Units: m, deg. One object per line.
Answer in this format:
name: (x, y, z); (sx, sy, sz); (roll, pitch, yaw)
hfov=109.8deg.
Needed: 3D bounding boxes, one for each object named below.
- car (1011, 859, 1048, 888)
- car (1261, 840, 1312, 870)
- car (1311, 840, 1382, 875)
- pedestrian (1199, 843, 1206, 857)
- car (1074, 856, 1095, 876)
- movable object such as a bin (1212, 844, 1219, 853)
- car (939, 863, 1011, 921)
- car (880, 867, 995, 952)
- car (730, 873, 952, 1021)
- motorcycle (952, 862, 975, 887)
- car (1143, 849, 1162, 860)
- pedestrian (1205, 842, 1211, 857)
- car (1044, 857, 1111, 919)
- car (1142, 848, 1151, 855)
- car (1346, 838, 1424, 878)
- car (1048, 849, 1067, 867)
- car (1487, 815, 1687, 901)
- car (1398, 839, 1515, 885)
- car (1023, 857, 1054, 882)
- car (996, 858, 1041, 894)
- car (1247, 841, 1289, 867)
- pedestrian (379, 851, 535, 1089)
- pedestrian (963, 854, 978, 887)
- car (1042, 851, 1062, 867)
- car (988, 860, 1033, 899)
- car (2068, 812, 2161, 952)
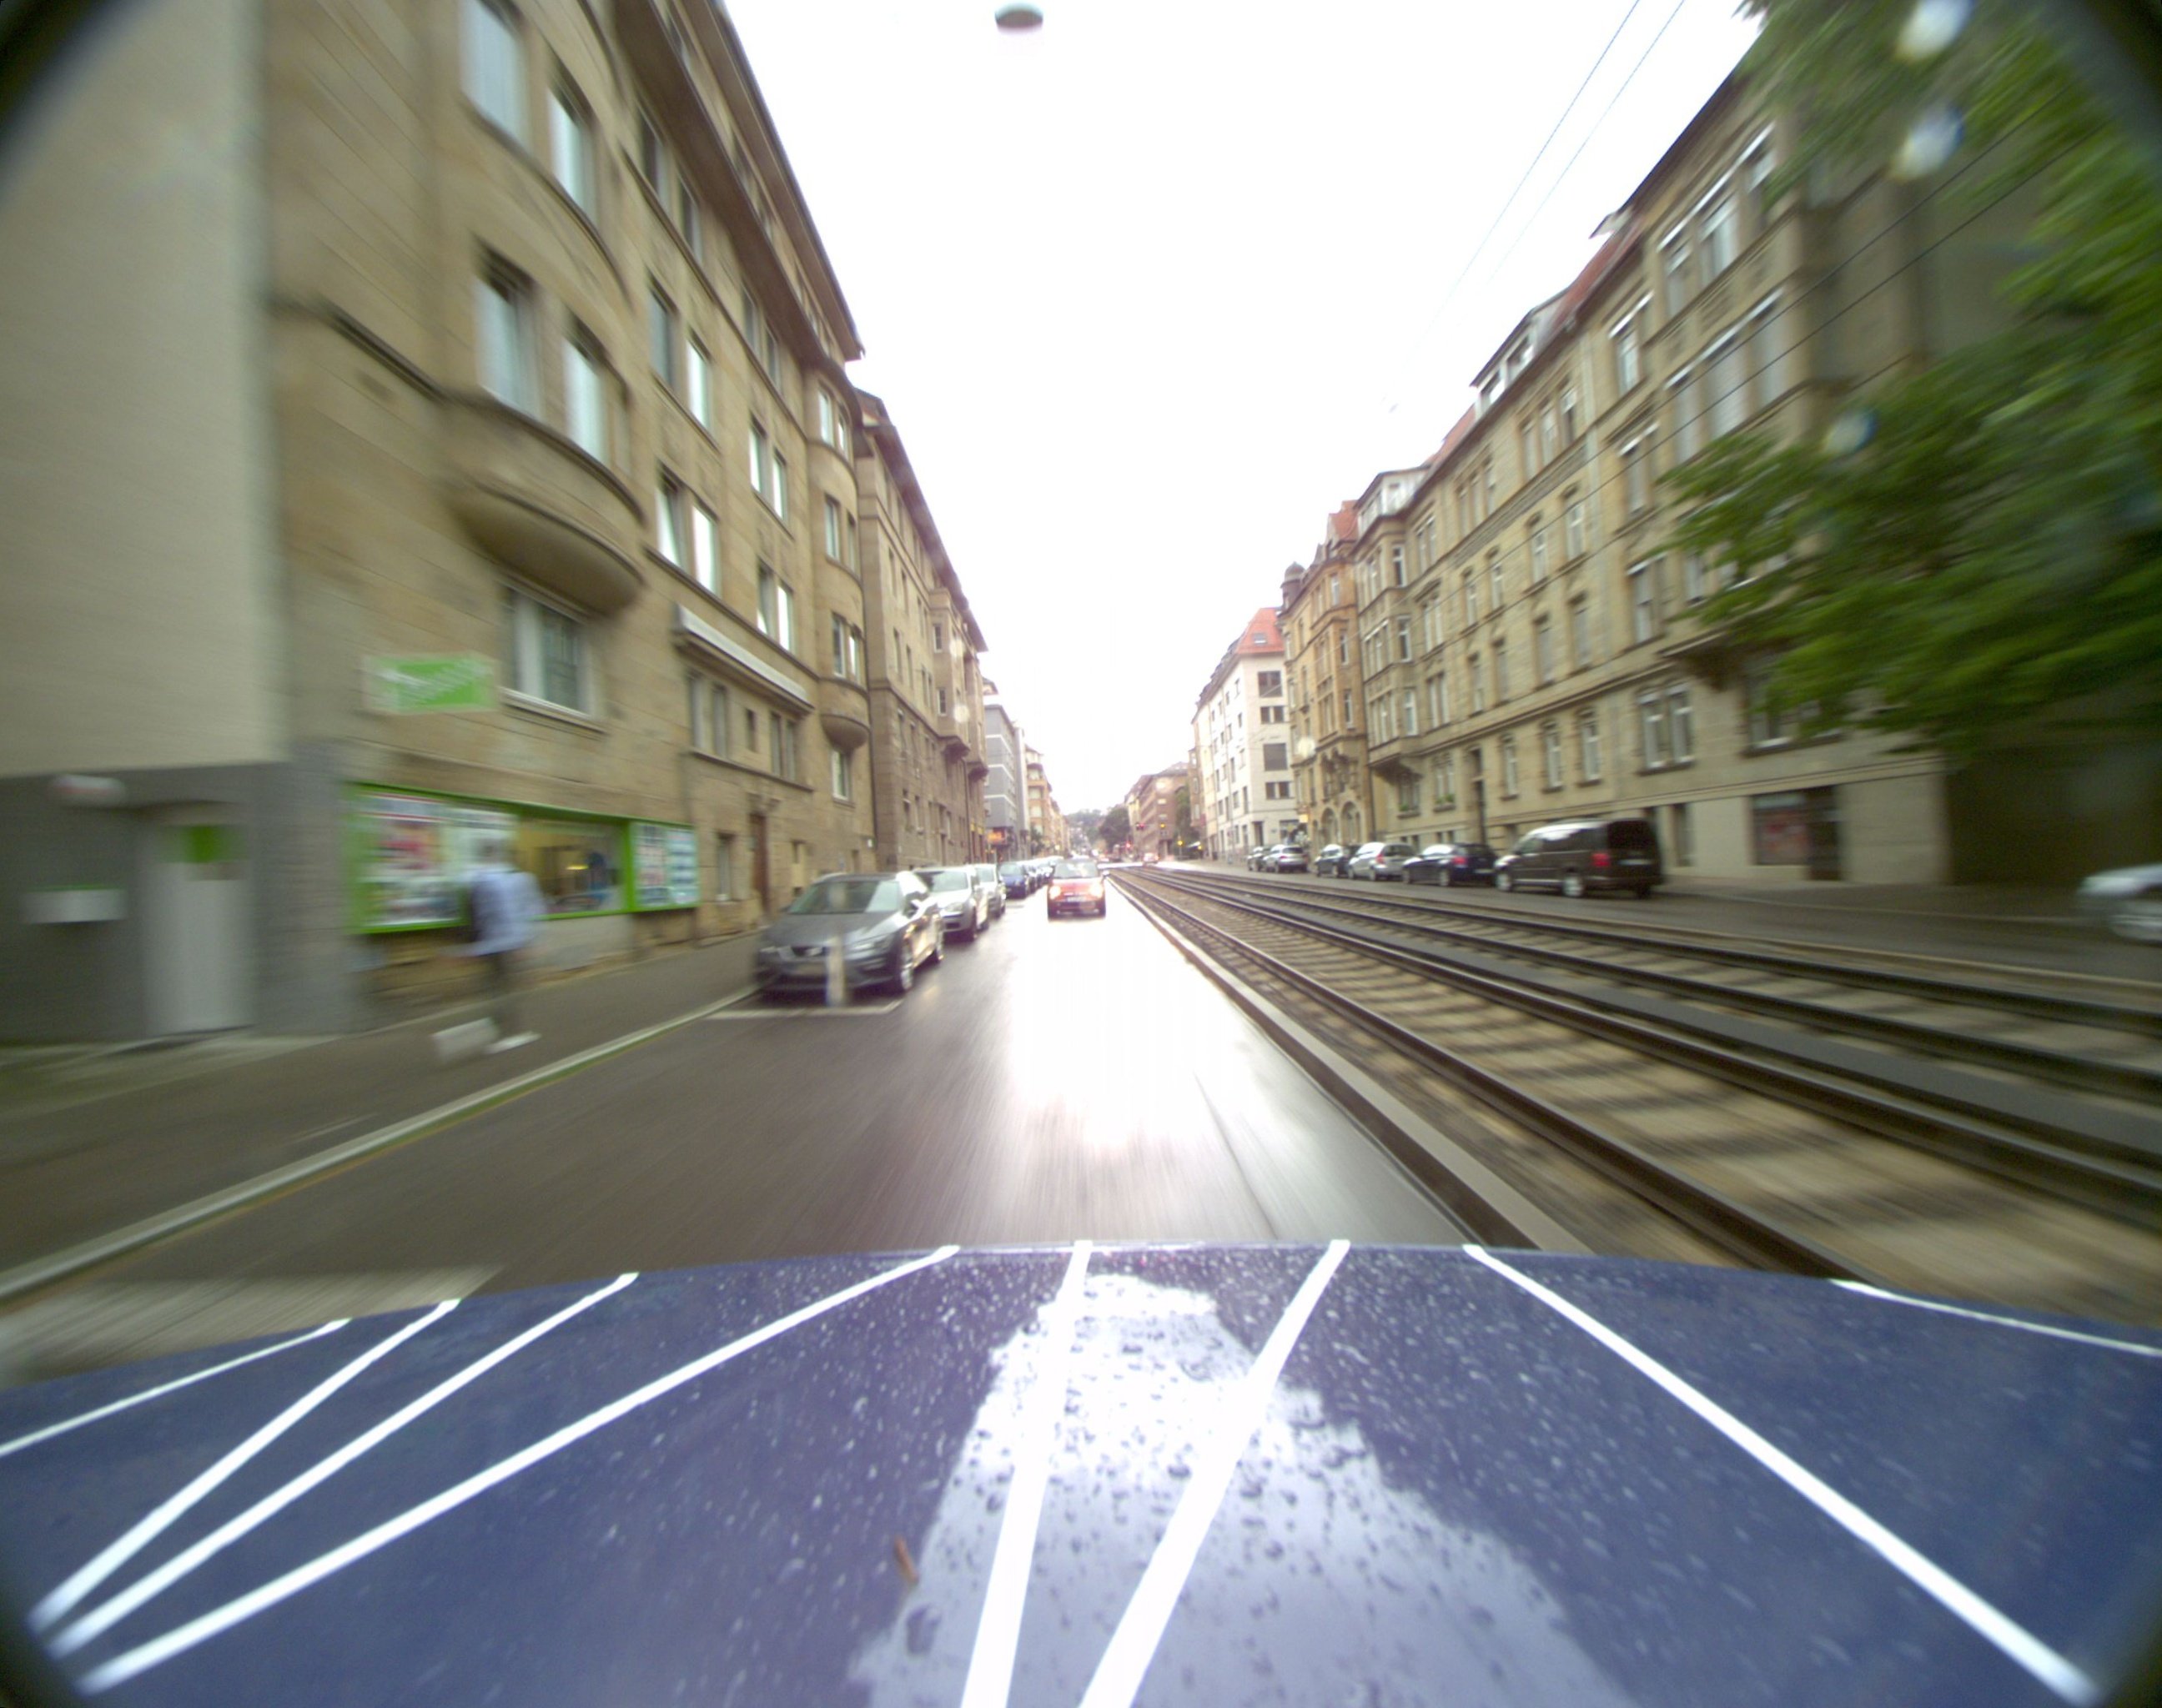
car: (-2.702, 1.006, 40.775); (1.711, 1.390, 4.017); (-2, 0, -1)
car: (12.537, 0.053, 46.670); (1.863, 1.643, 4.314); (-2, 0, -1)
car: (12.546, 0.143, 36.155); (1.875, 1.499, 4.169); (-2, 0, 0)
pedestrian: (14.766, -0.481, 92.294); (0.603, 1.708, 0.746); (-5, 1, 3)
car: (0.381, 1.238, 83.169); (2.135, 2.002, 4.328); (-3, 0, 0)
movable object such as a bin: (16.090, -0.658, 90.714); (0.631, 1.074, 0.563); (-7, 1, 0)
car: (-2.965, 1.017, 21.857); (1.594, 1.426, 3.683); (-2, 0, -2)
car: (-2.862, 1.050, 15.966); (1.672, 1.426, 3.955); (-2, 0, -1)
car: (-2.949, 1.058, 10.330); (1.674, 1.402, 4.311); (-2, 0, -1)
motorcycle: (-6.035, 1.027, 39.210); (0.707, 1.192, 2.745); (-3, 0, 0)
car: (9.584, 0.076, 102.370); (1.987, 1.448, 4.293); (-2, 0, -1)
pedestrian: (15.415, -0.545, 92.215); (0.603, 1.708, 0.658); (-5, 1, 3)
car: (-0.085, 0.897, 21.756); (1.683, 1.531, 4.018); (-2, 0, 0)
car: (13.781, -0.557, 159.695); (1.708, 1.379, 3.781); (-2, 0, 2)
car: (12.470, 0.160, 31.381); (1.699, 1.515, 3.855); (-1, 0, 1)
car: (-2.417, 0.423, 78.811); (1.797, 1.750, 4.565); (-3, 0, -1)
car: (12.330, 0.070, 18.987); (1.805, 1.836, 4.818); (-1, 0, 0)
car: (12.421, 0.242, 25.483); (1.767, 1.390, 4.269); (-1, 0, -1)
car: (-2.554, 0.916, 46.158); (1.759, 1.379, 4.484); (-1, 0, -3)
car: (-2.870, 0.993, 35.862); (1.792, 1.454, 4.082); (-2, 0, -1)
car: (12.574, -0.029, 51.436); (1.863, 1.592, 4.430); (-2, 0, 2)
pedestrian: (-4.843, 0.856, 5.943); (0.608, 1.753, 0.688); (-1, 1, 0)
pedestrian: (-5.232, 0.779, 36.021); (0.562, 1.526, 0.710); (-3, 1, 0)
car: (-2.833, 0.487, 73.650); (1.696, 1.474, 3.928); (-1, 0, -4)
car: (-2.837, 1.020, 31.214); (1.548, 1.407, 3.445); (-2, 0, -1)
car: (12.226, 0.286, 6.403); (1.854, 1.455, 4.549); (-1, 0, -1)
